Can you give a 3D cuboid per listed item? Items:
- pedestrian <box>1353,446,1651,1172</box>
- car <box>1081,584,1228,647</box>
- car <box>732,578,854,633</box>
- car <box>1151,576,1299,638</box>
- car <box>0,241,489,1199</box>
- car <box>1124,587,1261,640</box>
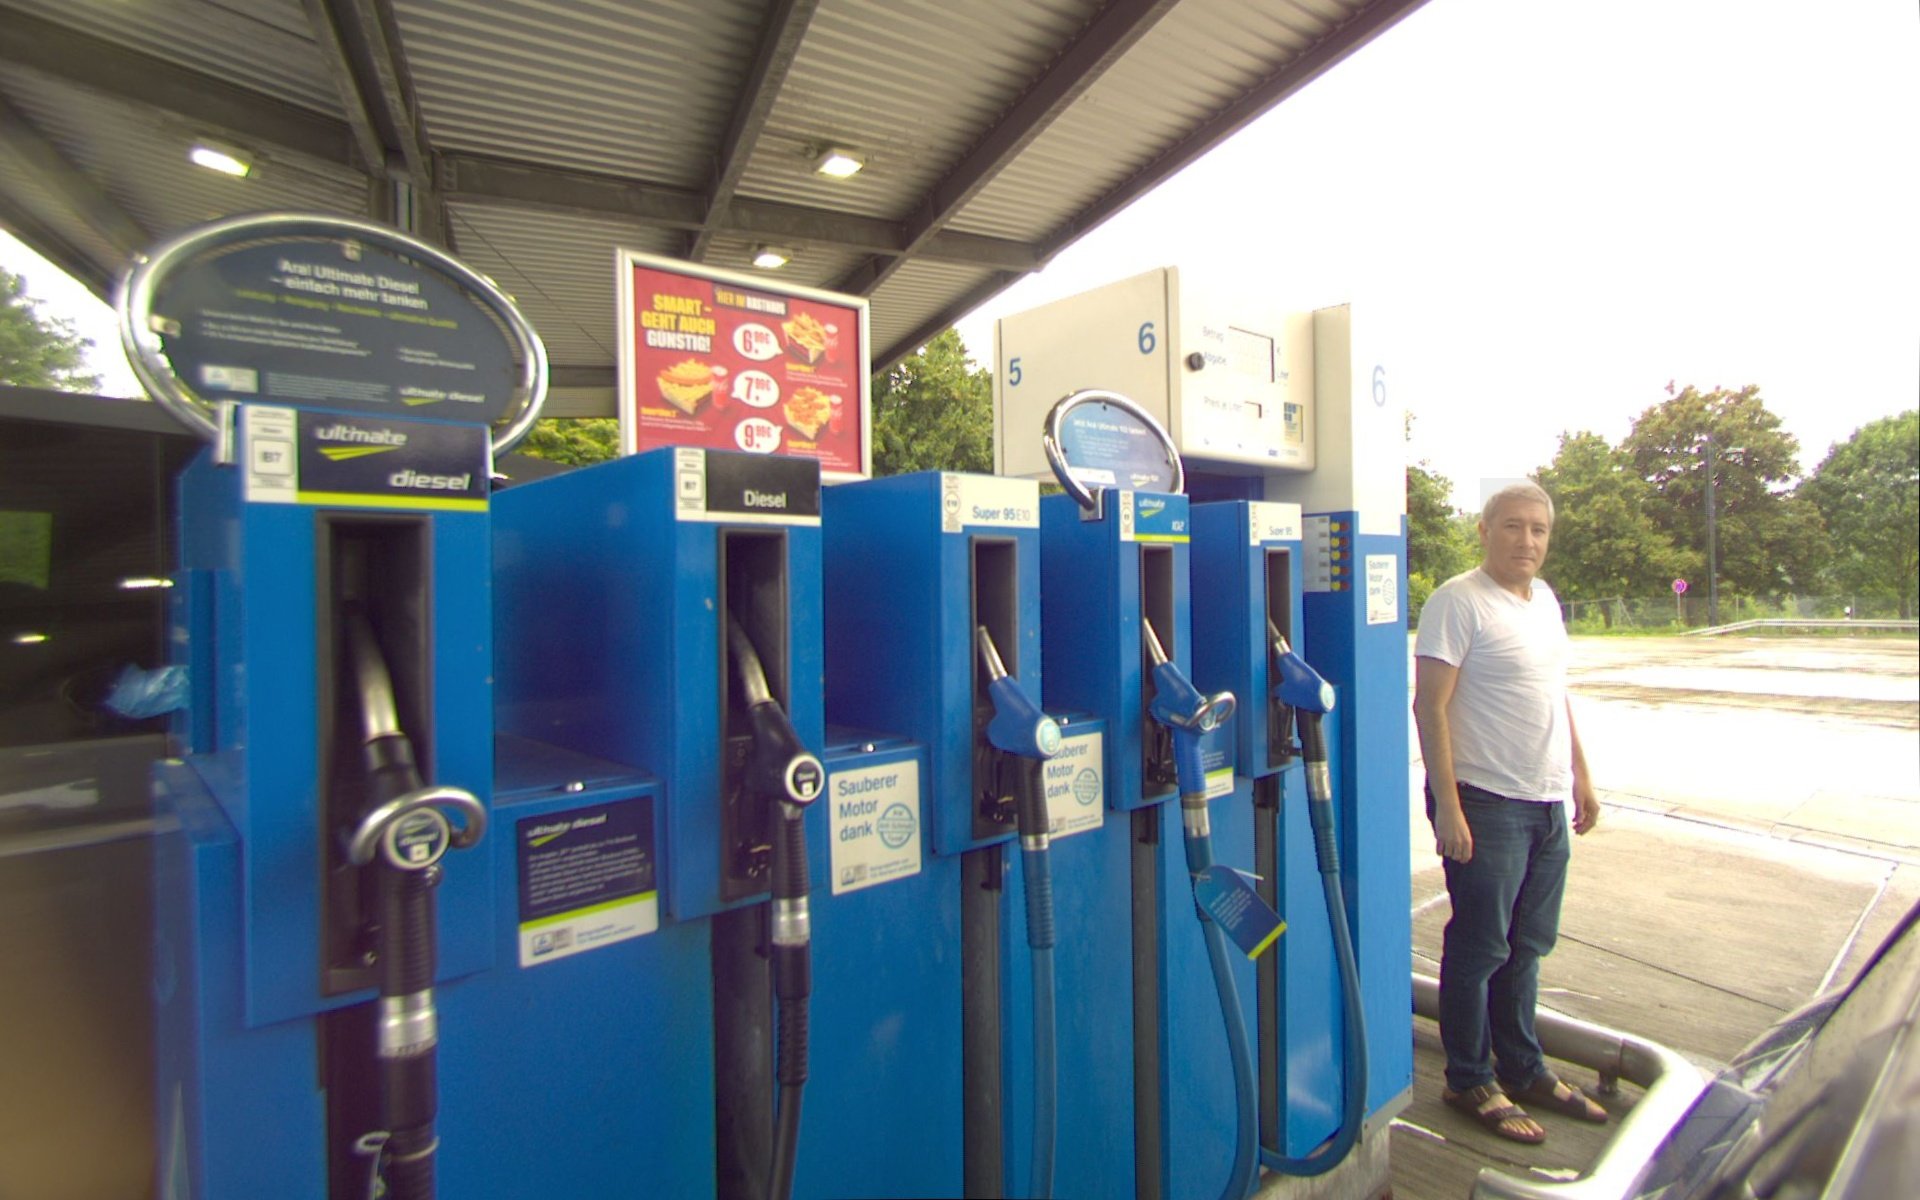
[{"bbox_3d":[1.558,0.517,2.921,0.621,1.832,0.495,-2,1,-31],"label":"pedestrian"},{"bbox_3d":[5.794,0.420,30.005,4.123,1.752,1.990,0,0,17],"label":"car"},{"bbox_3d":[-5.567,0.150,33.459,1.967,1.683,4.170,0,0,-44],"label":"car"},{"bbox_3d":[8.920,0.207,34.325,4.700,2.011,2.007,0,0,14],"label":"car"},{"bbox_3d":[-3.038,0.411,1.471,3.930,1.973,1.819,0,0,-41],"label":"car"},{"bbox_3d":[7.383,0.404,32.140,4.123,1.576,1.990,1,0,17],"label":"car"}]
